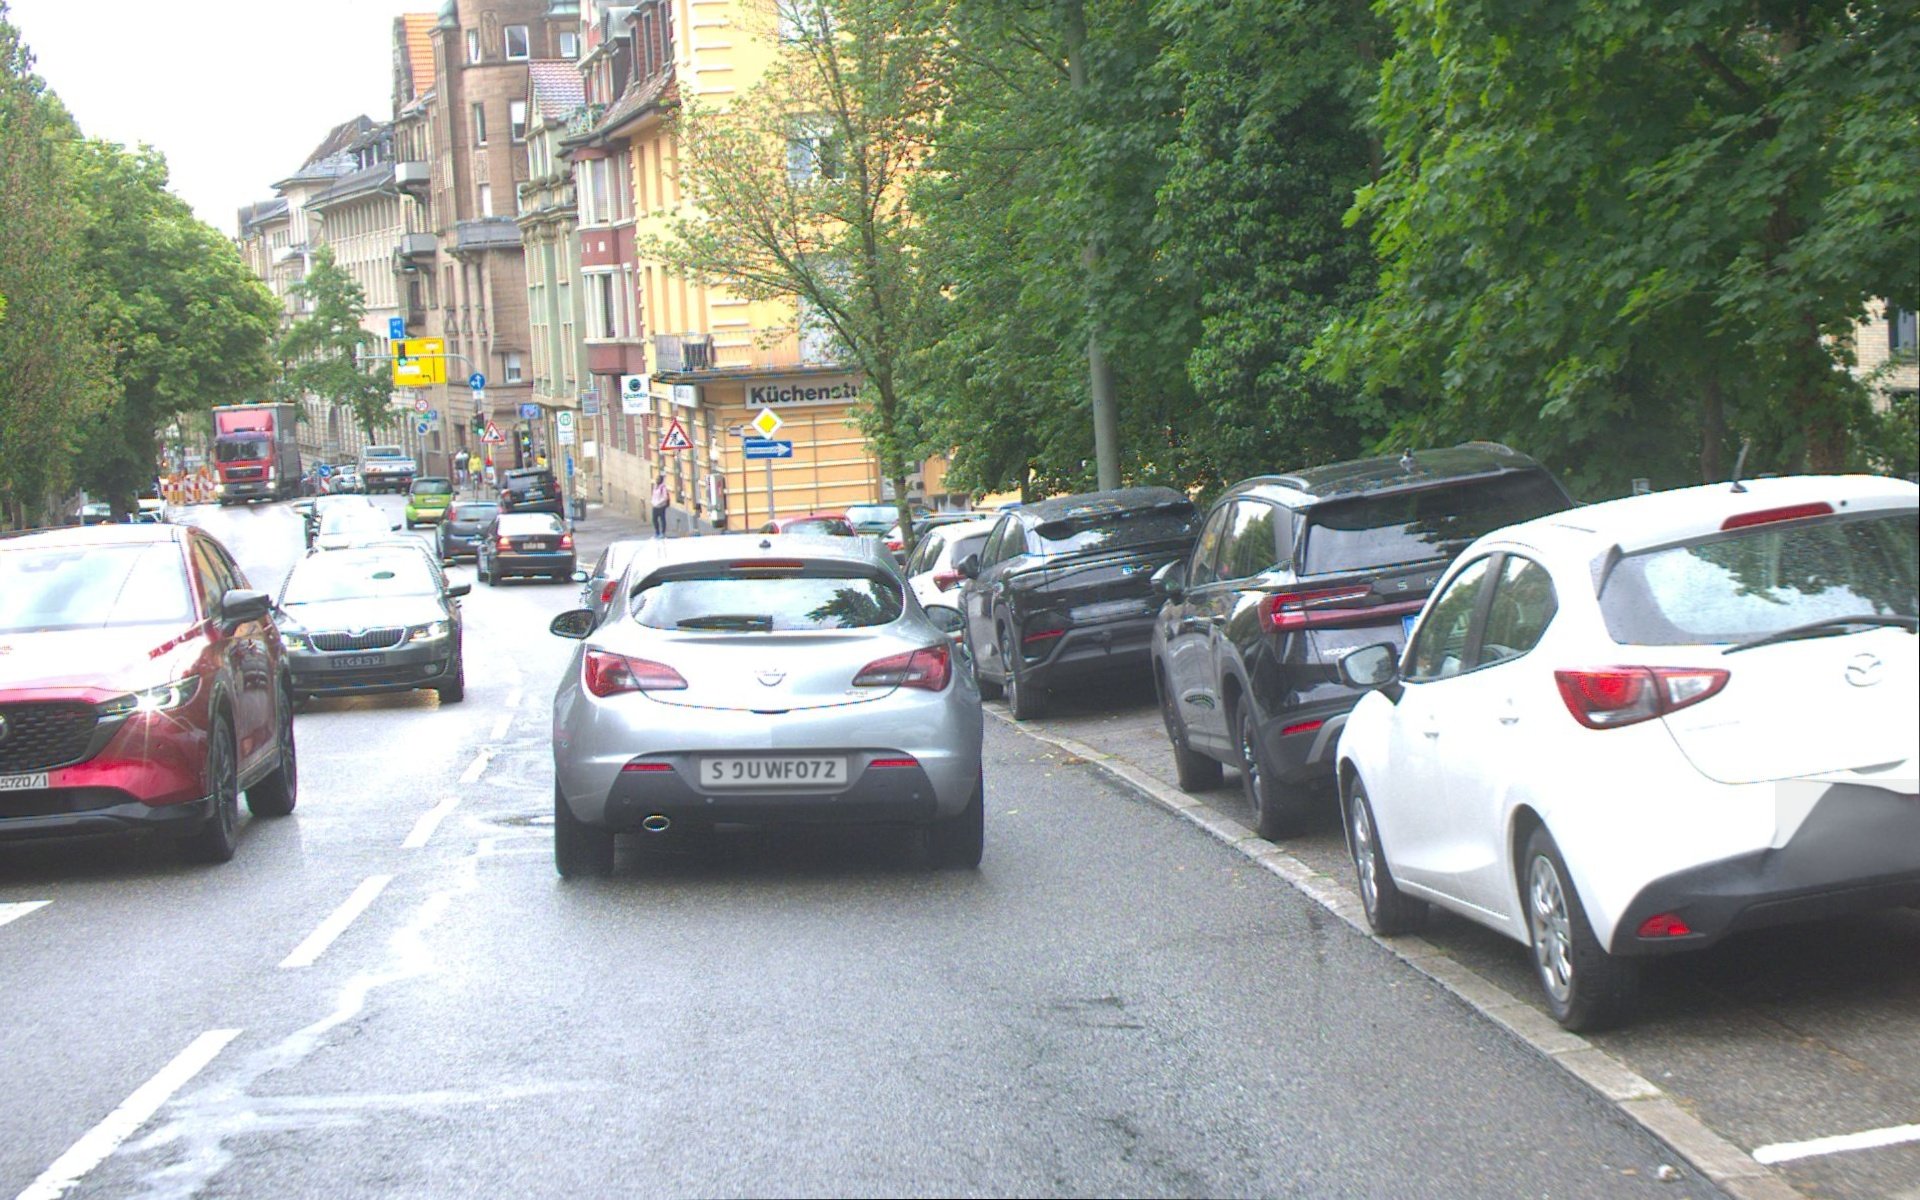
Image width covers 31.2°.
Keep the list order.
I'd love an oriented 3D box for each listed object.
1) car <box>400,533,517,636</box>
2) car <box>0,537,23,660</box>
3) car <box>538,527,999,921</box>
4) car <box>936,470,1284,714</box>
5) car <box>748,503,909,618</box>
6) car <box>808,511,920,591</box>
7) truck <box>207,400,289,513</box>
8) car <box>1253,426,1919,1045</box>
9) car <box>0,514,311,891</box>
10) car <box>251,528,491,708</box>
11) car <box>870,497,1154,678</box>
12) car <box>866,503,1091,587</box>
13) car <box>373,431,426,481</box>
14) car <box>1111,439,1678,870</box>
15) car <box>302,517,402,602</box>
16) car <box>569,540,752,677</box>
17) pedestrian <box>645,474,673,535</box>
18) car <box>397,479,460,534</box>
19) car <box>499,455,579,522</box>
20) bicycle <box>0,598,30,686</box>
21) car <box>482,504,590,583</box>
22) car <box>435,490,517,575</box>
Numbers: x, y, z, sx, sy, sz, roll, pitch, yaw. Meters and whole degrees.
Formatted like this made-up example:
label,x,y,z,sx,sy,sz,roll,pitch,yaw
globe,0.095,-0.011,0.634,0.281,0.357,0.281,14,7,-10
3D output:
label,x,y,z,sx,sy,sz,roll,pitch,yaw
car,-7.822,-0.258,53.541,1.660,1.443,3.994,-3,1,-9
car,-14.181,0.042,47.862,1.787,1.645,4.198,-7,2,-12
car,-0.884,0.459,15.926,1.814,1.424,4.001,-2,3,-3
car,1.081,-0.085,27.219,1.975,1.603,4.486,-5,1,-6
car,-2.036,-0.604,52.012,1.814,1.462,4.001,-7,2,-9
car,-1.906,-1.012,69.339,1.776,1.424,3.785,-1,3,6
truck,-28.150,-5.762,135.658,2.788,4.117,10.857,-3,4,-13
car,2.298,0.301,11.176,1.815,1.490,4.001,-8,1,-5
car,-4.512,0.441,17.239,1.845,1.578,4.280,-5,2,-4
car,-5.465,0.115,32.337,1.738,1.468,4.282,-3,2,-4
car,0.417,-0.127,32.909,1.975,1.447,4.115,-5,1,-8
car,0.327,-0.985,62.399,3.772,1.425,1.782,1,0,-11
car,-22.561,-5.775,138.381,1.781,1.848,4.001,-2,1,-13
car,1.955,0.162,16.989,1.821,1.677,4.804,-5,2,-3
car,-13.032,-0.902,73.891,1.822,1.645,4.001,-4,2,-7
car,-3.431,0.062,38.847,1.776,1.425,3.786,-2,1,-9
pedestrian,-7.528,-2.388,85.949,0.613,1.491,0.553,-3,4,-8
car,-15.840,-2.768,102.354,1.639,1.531,3.718,-3,2,-11
car,-12.558,-3.304,102.360,1.993,1.683,4.001,-8,2,-9
bicycle,-13.173,0.615,45.643,1.462,1.117,0.381,-7,3,-14
car,-8.064,-1.097,65.169,1.767,1.410,3.718,-1,2,-11
car,-11.444,-1.616,81.165,1.639,1.683,3.719,-3,6,-11
